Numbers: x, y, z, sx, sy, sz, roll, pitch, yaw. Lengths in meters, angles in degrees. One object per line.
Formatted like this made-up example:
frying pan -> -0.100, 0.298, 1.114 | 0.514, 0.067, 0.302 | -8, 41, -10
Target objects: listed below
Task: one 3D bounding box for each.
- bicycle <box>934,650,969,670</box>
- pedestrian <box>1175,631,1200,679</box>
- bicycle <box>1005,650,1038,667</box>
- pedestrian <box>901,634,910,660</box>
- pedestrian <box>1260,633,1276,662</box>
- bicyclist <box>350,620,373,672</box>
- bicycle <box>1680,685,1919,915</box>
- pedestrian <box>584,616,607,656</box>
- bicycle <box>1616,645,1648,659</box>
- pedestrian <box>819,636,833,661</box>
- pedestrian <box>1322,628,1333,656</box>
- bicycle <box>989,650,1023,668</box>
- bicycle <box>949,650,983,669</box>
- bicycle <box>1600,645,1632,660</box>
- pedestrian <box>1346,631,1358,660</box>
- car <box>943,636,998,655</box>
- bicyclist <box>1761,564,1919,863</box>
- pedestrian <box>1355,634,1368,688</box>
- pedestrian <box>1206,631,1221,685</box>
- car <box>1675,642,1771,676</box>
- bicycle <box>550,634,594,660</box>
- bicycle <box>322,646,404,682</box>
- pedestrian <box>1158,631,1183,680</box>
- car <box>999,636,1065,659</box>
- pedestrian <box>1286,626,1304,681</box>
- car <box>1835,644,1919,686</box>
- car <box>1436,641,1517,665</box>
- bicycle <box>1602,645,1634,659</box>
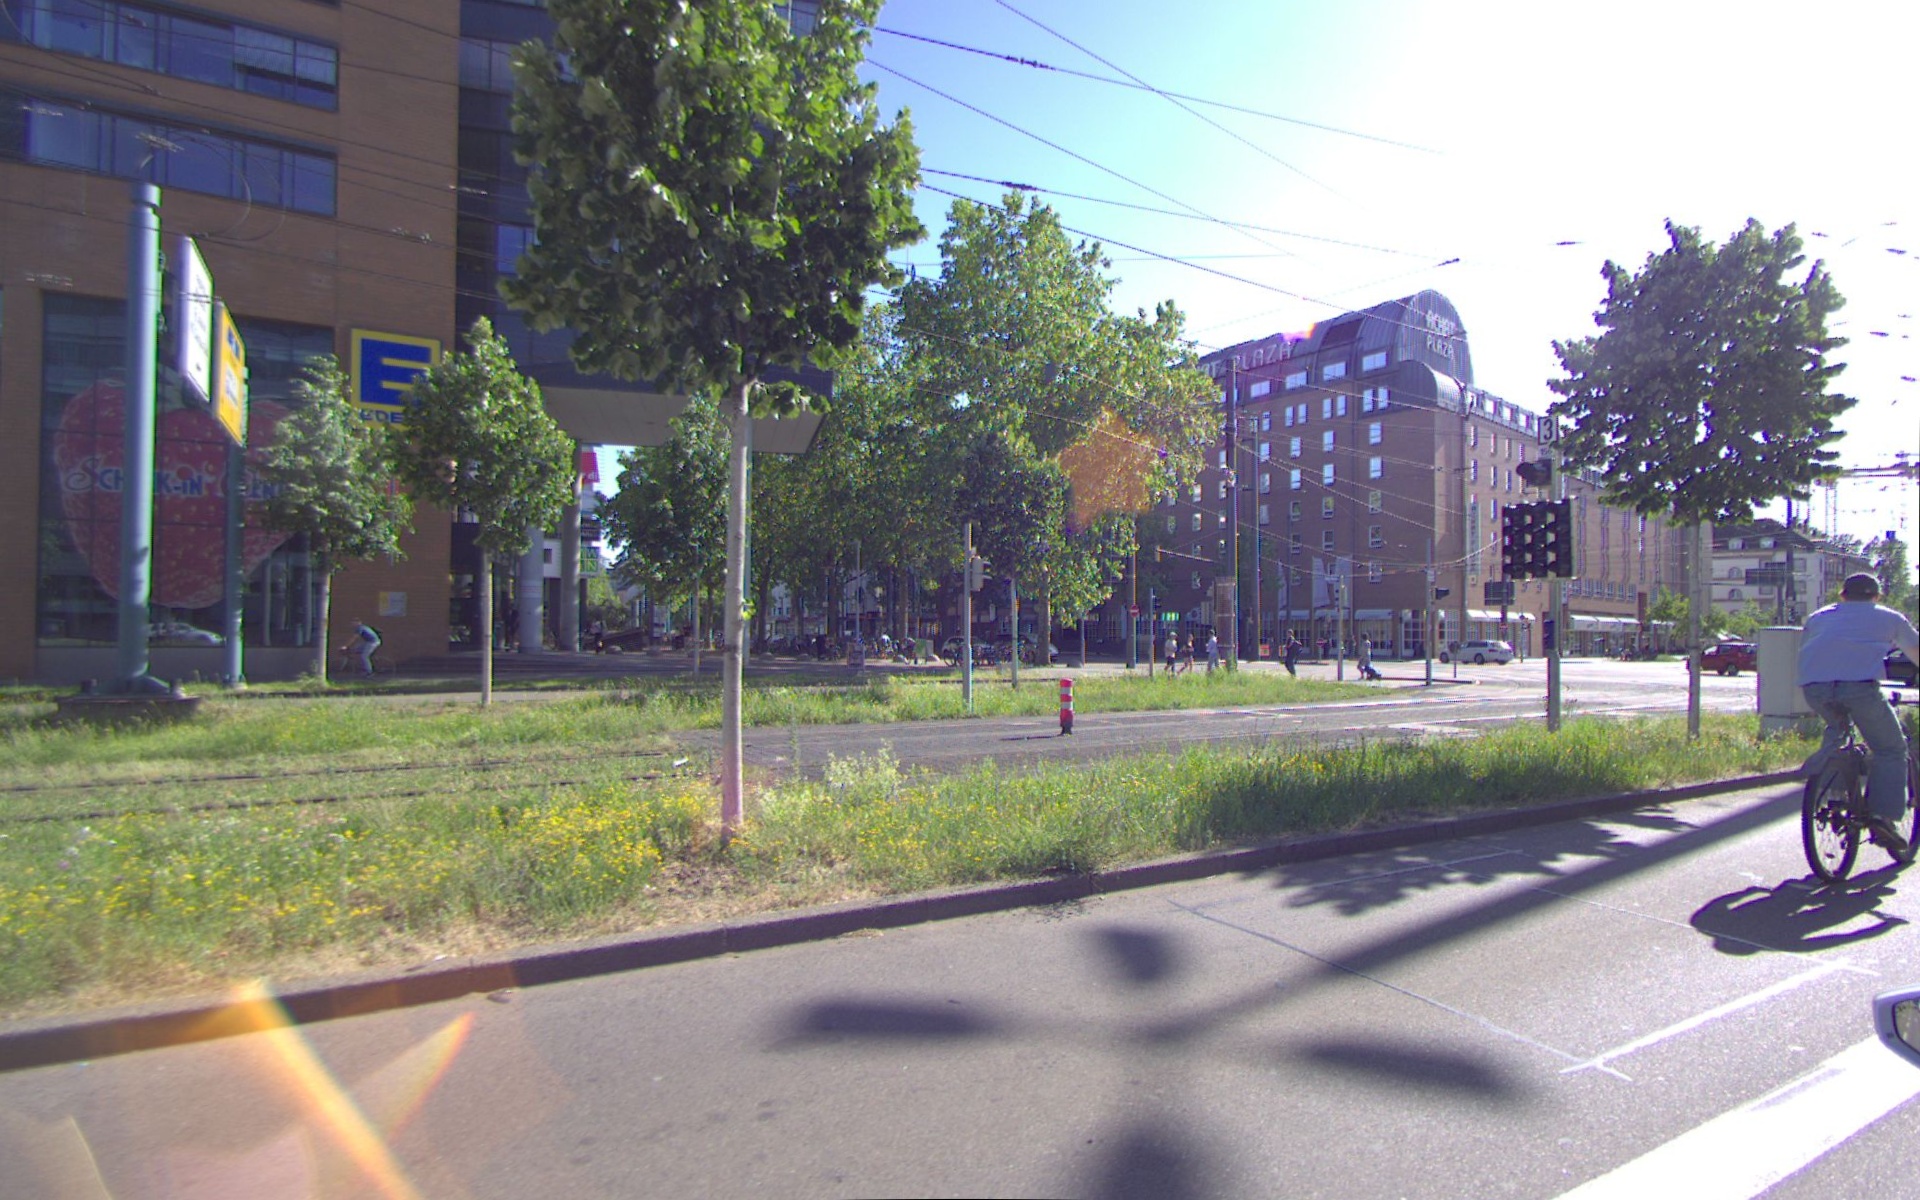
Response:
bicycle -> -0.396, 2.702, 45.404 | 0.372, 0.809, 2.008 | 2, -2, -39
pedestrian -> 8.745, 2.110, 38.670 | 0.615, 1.855, 0.760 | 1, -1, -21
bicycle -> 3.002, 2.855, 49.203 | 0.372, 0.809, 2.008 | 2, -2, -39
pedestrian -> -3.063, 2.632, 56.445 | 0.491, 1.471, 0.648 | 1, -2, -4
pedestrian -> 20.873, 3.202, 68.128 | 0.899, 1.957, 0.694 | 2, -2, -43
bicyclist -> -16.329, 1.254, 27.394 | 0.476, 1.395, 0.338 | 3, -2, -32
bicycle -> 5.475, 1.116, 6.165 | 2.665, 1.084, 0.683 | 1, 0, -31
pedestrian -> -15.503, 1.540, 42.728 | 0.779, 1.645, 0.504 | 3, -2, -31
bicycle -> 64.708, 4.999, 96.711 | 0.725, 1.327, 2.471 | 2, -2, -32
pedestrian -> -7.154, 2.573, 53.608 | 0.543, 1.310, 0.425 | 2, -2, -40
pedestrian -> 25.255, 2.875, 68.985 | 0.520, 1.957, 0.522 | 1, -2, -17
bicycle -> 2.182, 2.812, 47.979 | 0.372, 0.809, 2.008 | 2, -2, -39
bicycle -> 0.277, 2.752, 46.549 | 0.372, 0.809, 2.008 | 2, -2, -39
bicycle -> 62.268, 4.987, 95.401 | 0.725, 1.327, 2.471 | 2, -2, -32
pedestrian -> 26.786, 3.104, 68.635 | 0.746, 1.957, 0.518 | 2, -2, -43
car -> 0.636, 2.882, 64.302 | 1.761, 1.158, 3.967 | 2, -2, -31
bicyclist -> 5.561, 0.653, 6.205 | 1.008, 1.692, 0.615 | 1, 0, -30
pedestrian -> 13.963, 2.114, 34.910 | 0.379, 1.855, 0.463 | 0, -1, 28
pedestrian -> 8.853, 2.007, 35.103 | 0.452, 1.855, 0.458 | 0, -1, 21
car -> 35.681, 2.736, 47.068 | 1.627, 1.468, 3.583 | 1, -2, -4
bicycle -> -17.846, 2.159, 46.217 | 1.783, 1.149, 0.490 | 2, -2, -32
bicycle -> -16.284, 1.740, 27.417 | 1.874, 0.938, 0.351 | 3, -3, -32
pedestrian -> 8.057, 2.123, 38.454 | 0.616, 1.855, 0.759 | 1, -1, -25
car -> 4.229, 2.804, 59.660 | 1.977, 1.247, 3.967 | 2, -2, -31
pedestrian -> 11.418, 1.824, 34.205 | 0.571, 1.855, 0.498 | 0, -1, 22
car -> 34.464, 2.338, 36.198 | 1.699, 1.468, 4.519 | 1, -2, -5
car -> 31.919, 3.262, 62.218 | 2.032, 1.399, 4.400 | 1, -2, -14
bicycle -> 63.149, 5.007, 96.423 | 0.725, 1.327, 2.471 | 2, -2, -32
